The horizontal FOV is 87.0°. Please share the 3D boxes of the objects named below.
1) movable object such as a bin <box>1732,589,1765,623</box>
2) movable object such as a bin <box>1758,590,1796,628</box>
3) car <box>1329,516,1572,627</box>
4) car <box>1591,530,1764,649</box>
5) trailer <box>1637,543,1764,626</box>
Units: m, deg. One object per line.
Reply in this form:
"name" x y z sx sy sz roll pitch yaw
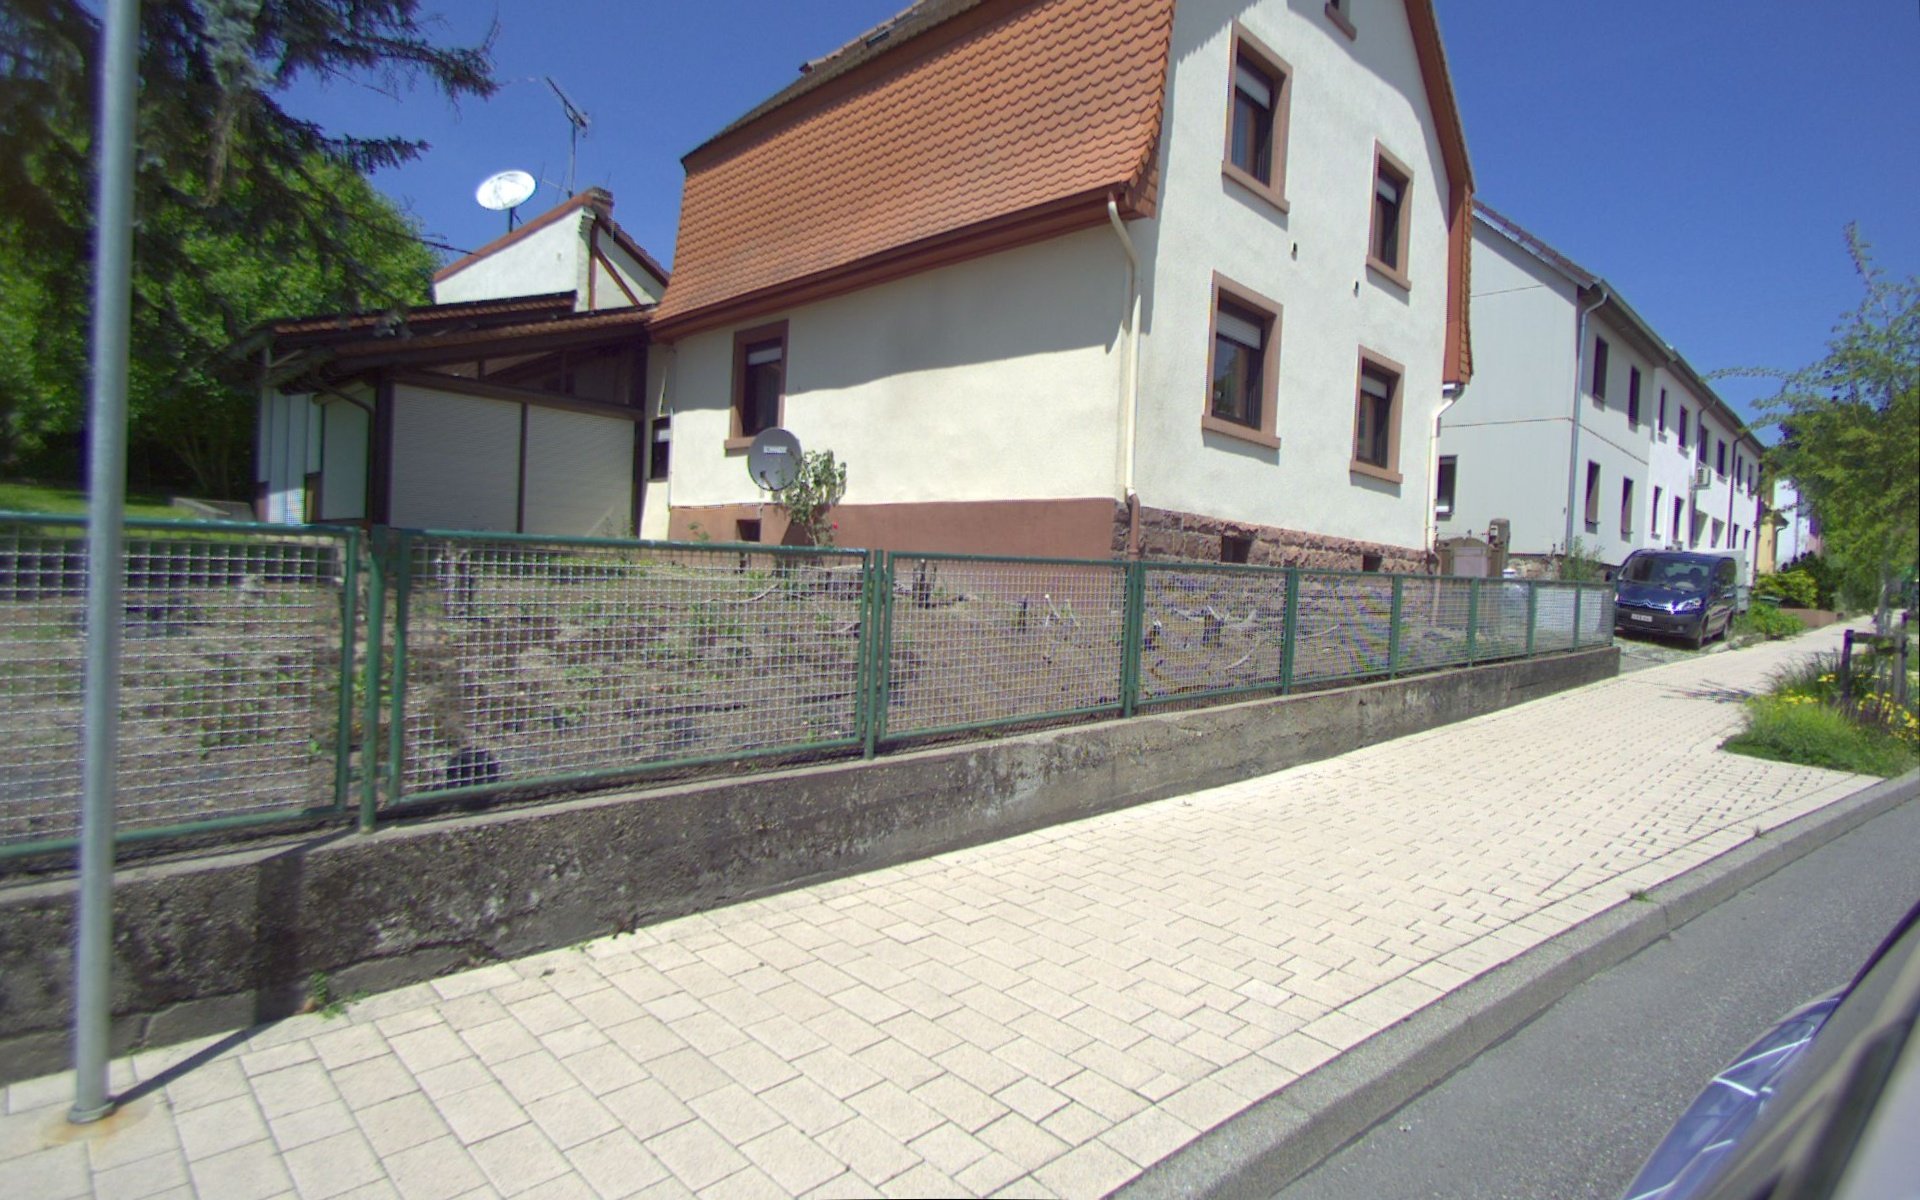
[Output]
"movable object such as a bin" 25.034 0.184 32.126 0.788 0.997 0.560 0 6 -38
"movable object such as a bin" 25.597 0.279 31.718 0.797 1.128 0.686 0 5 -39
"car" 10.104 -0.658 21.059 1.859 1.785 3.997 0 8 -43
"car" 15.500 -0.243 21.755 4.694 1.990 1.859 0 13 -44
"trailer" 18.735 -0.386 25.665 2.229 2.039 1.325 0 1 -2
